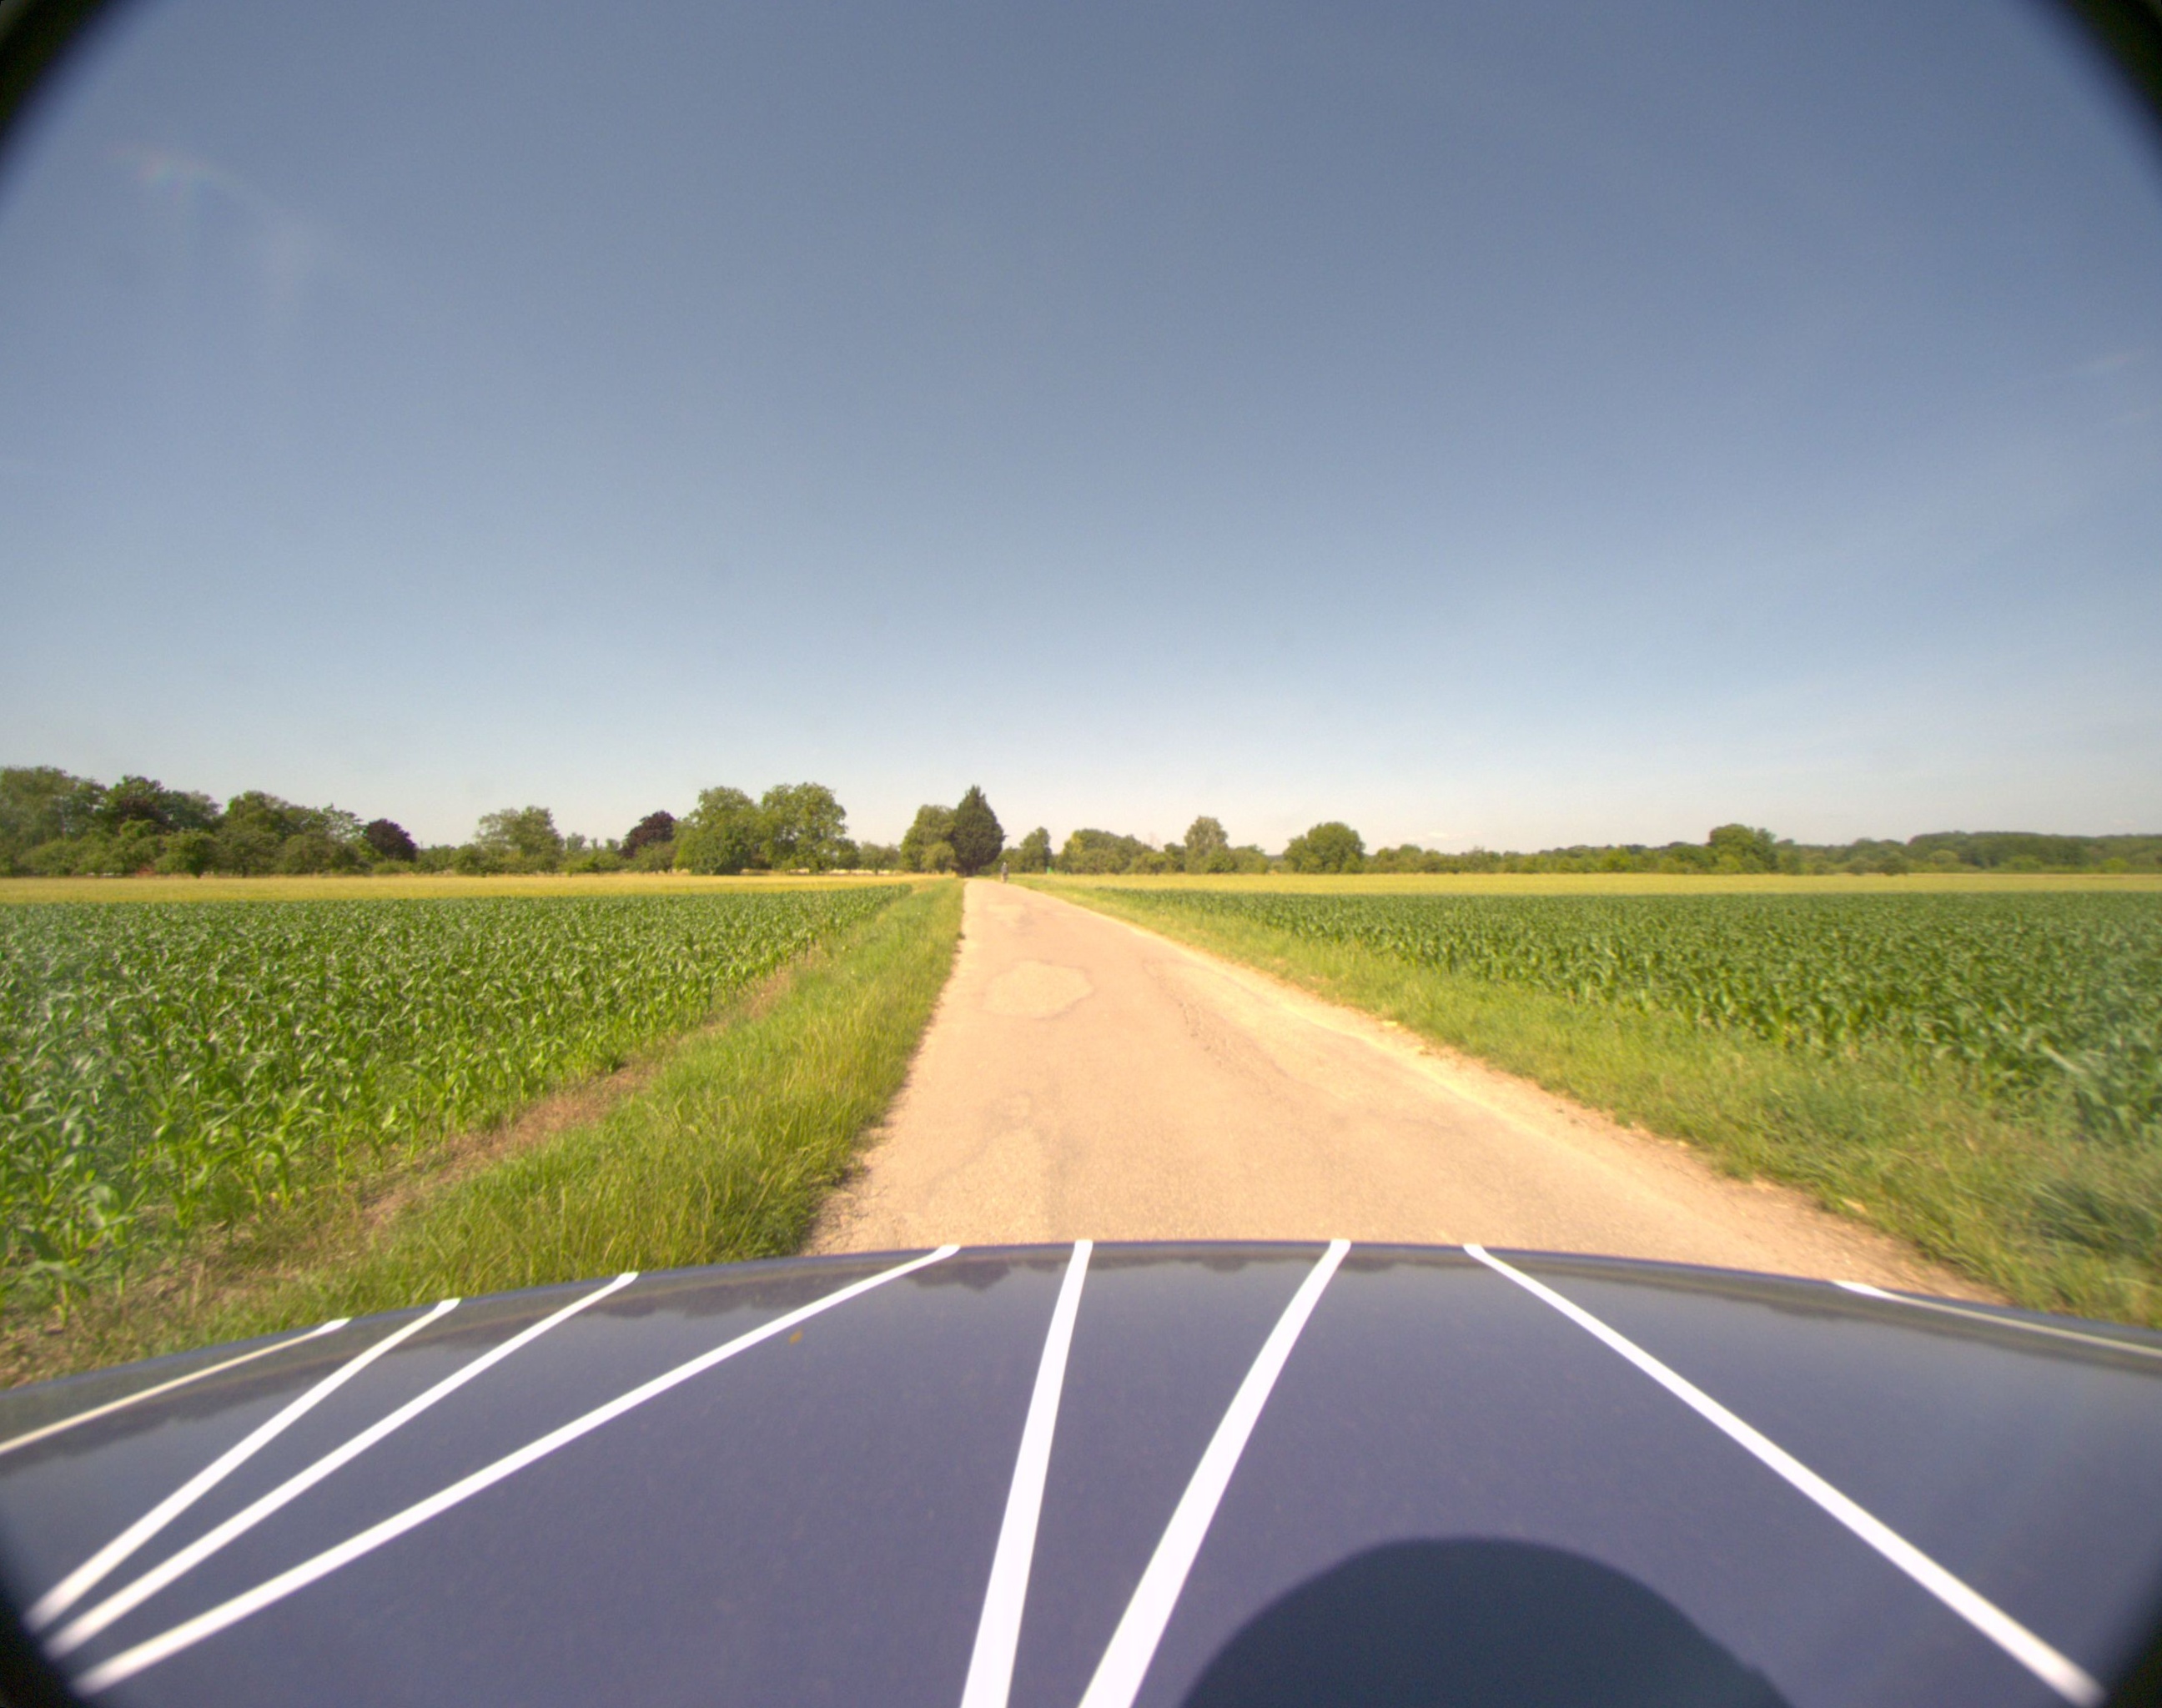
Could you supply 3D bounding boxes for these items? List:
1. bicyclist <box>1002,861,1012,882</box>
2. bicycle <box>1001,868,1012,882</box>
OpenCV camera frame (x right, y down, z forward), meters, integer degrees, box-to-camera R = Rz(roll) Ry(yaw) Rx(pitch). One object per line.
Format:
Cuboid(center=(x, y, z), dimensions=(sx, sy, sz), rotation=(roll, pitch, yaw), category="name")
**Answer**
Cuboid(center=(-6.322, 1.492, 64.843), dimensions=(0.752, 1.780, 0.717), rotation=(2, 0, -2), category="bicyclist")
Cuboid(center=(-6.328, 1.811, 64.846), dimensions=(0.752, 1.121, 1.908), rotation=(2, -1, -2), category="bicycle")
